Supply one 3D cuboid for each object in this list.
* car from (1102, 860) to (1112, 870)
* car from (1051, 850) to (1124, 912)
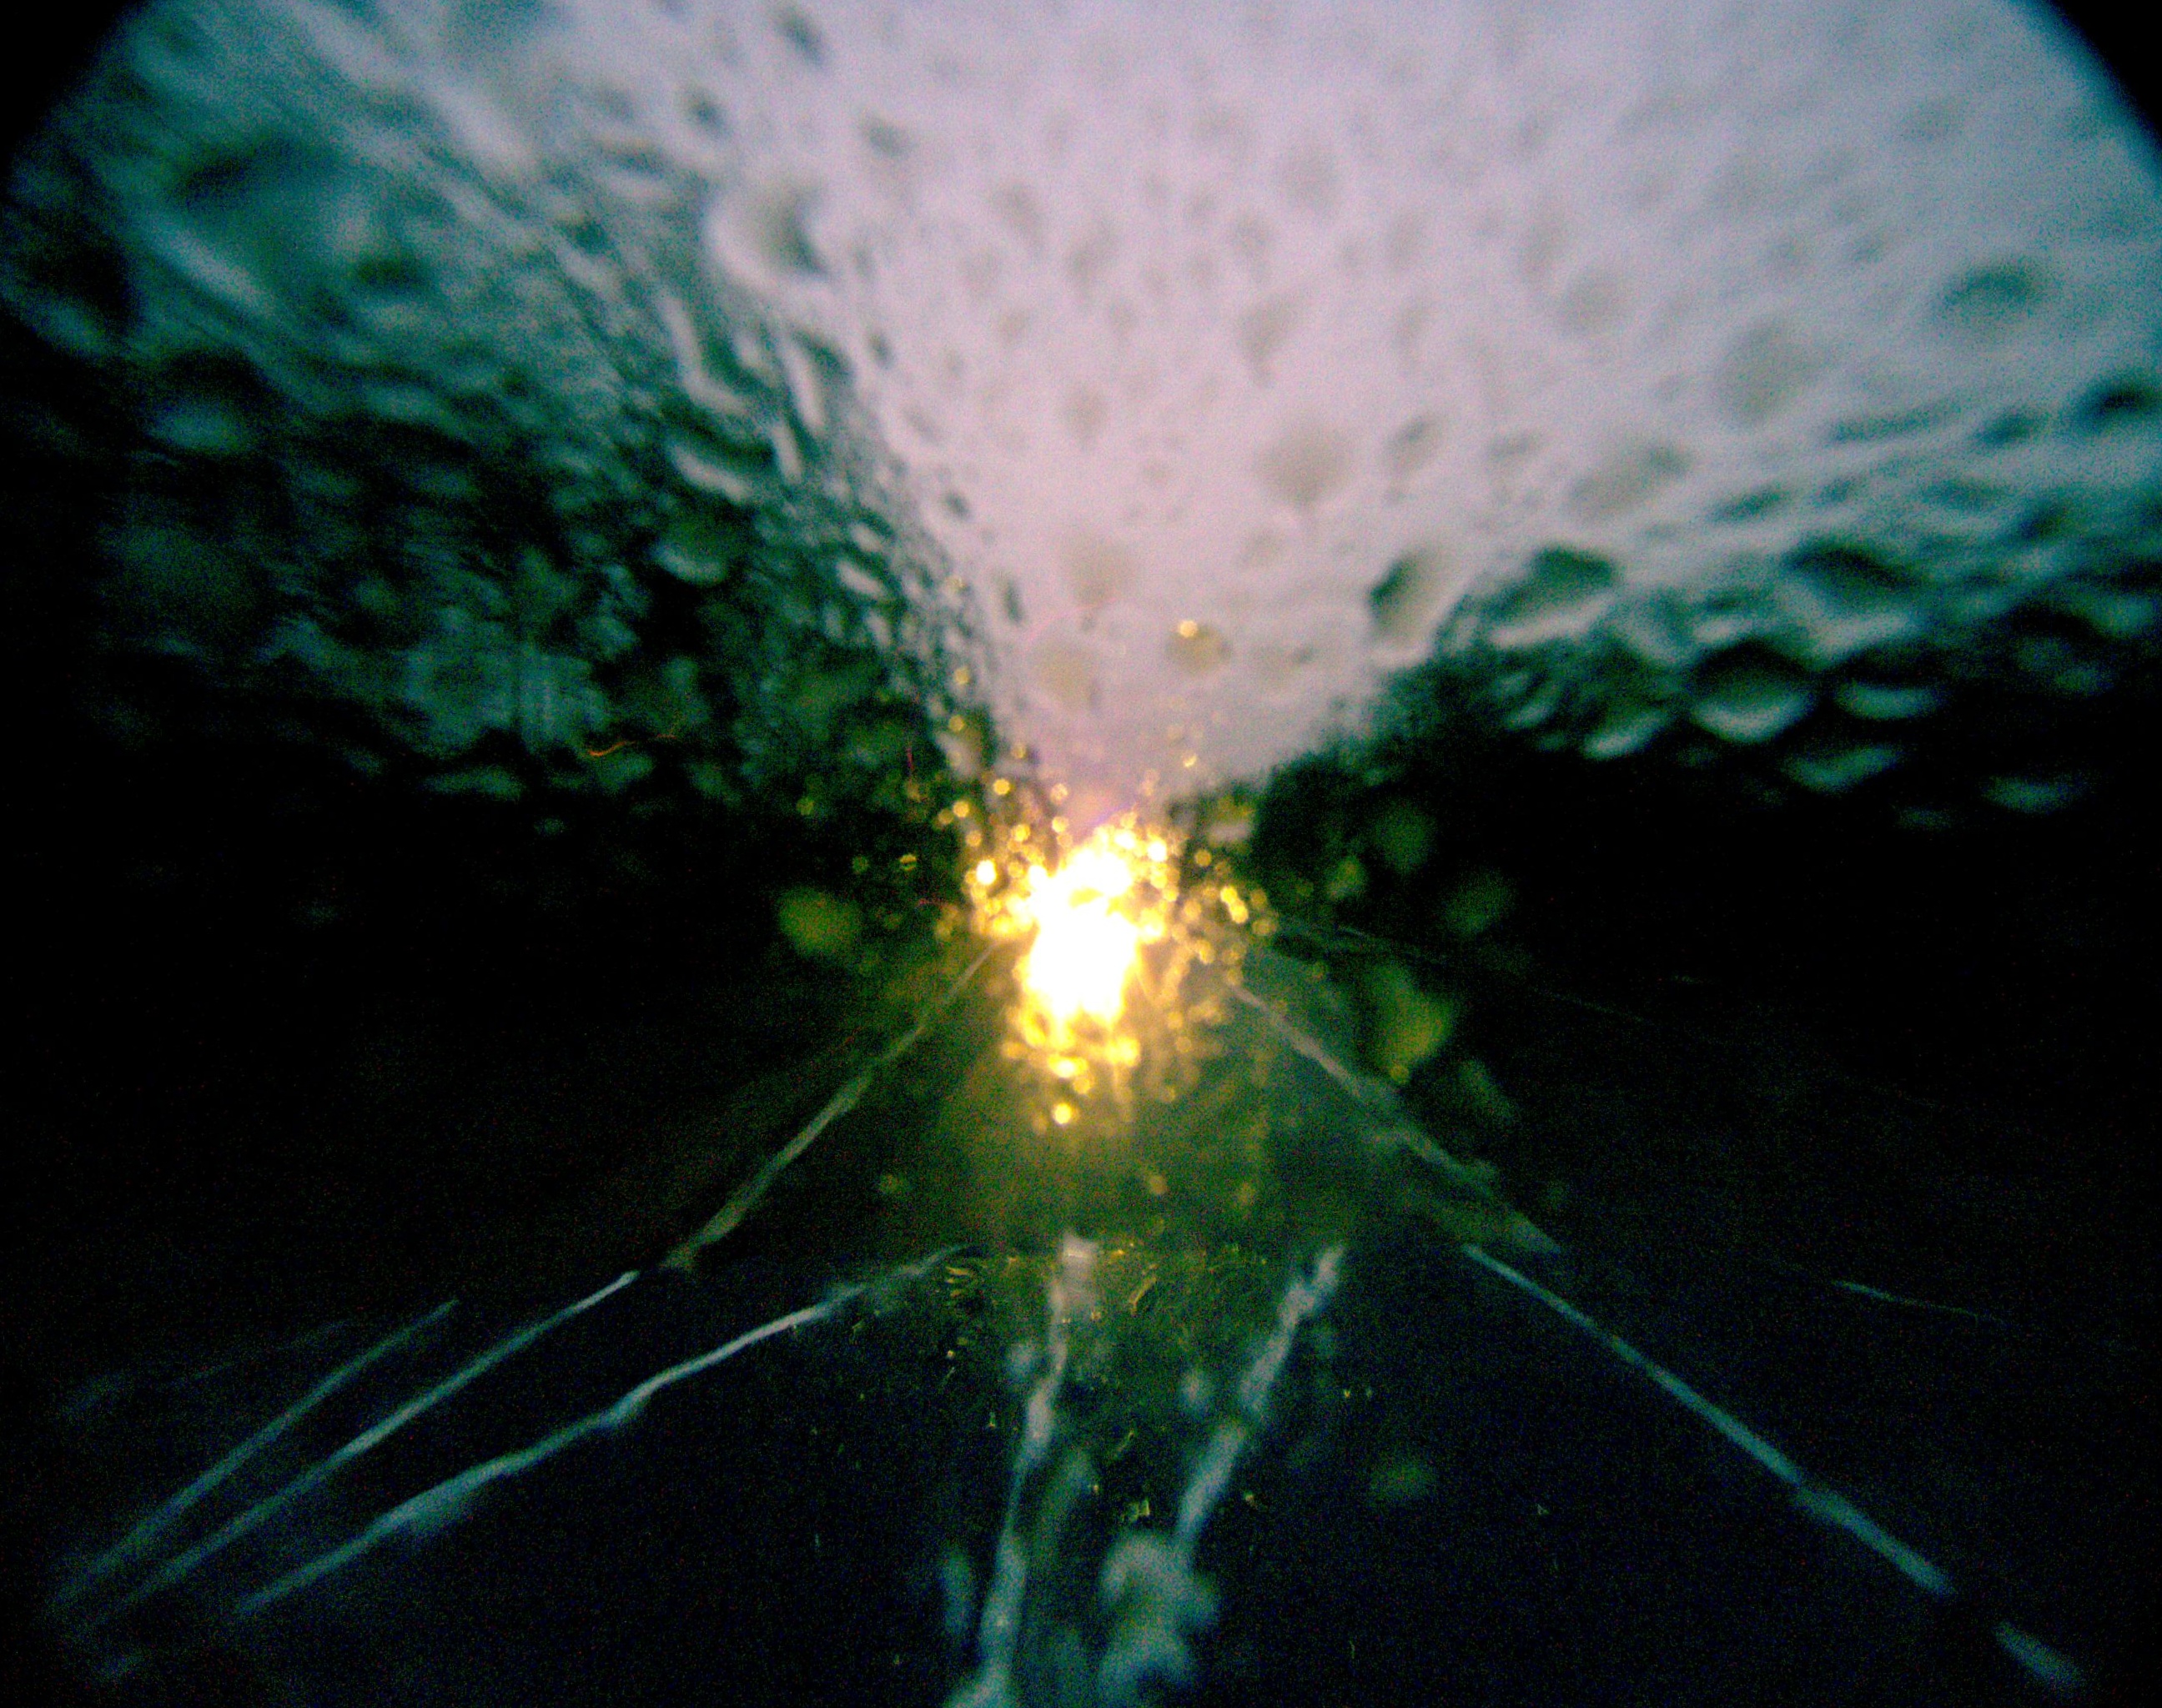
[{"bbox_3d":[4.740,2.020,138.572,1.698,1.551,4.130,-2,-1,1],"label":"car"},{"bbox_3d":[0.180,0.773,23.445,1.998,1.672,4.000,-2,0,0],"label":"car"}]
